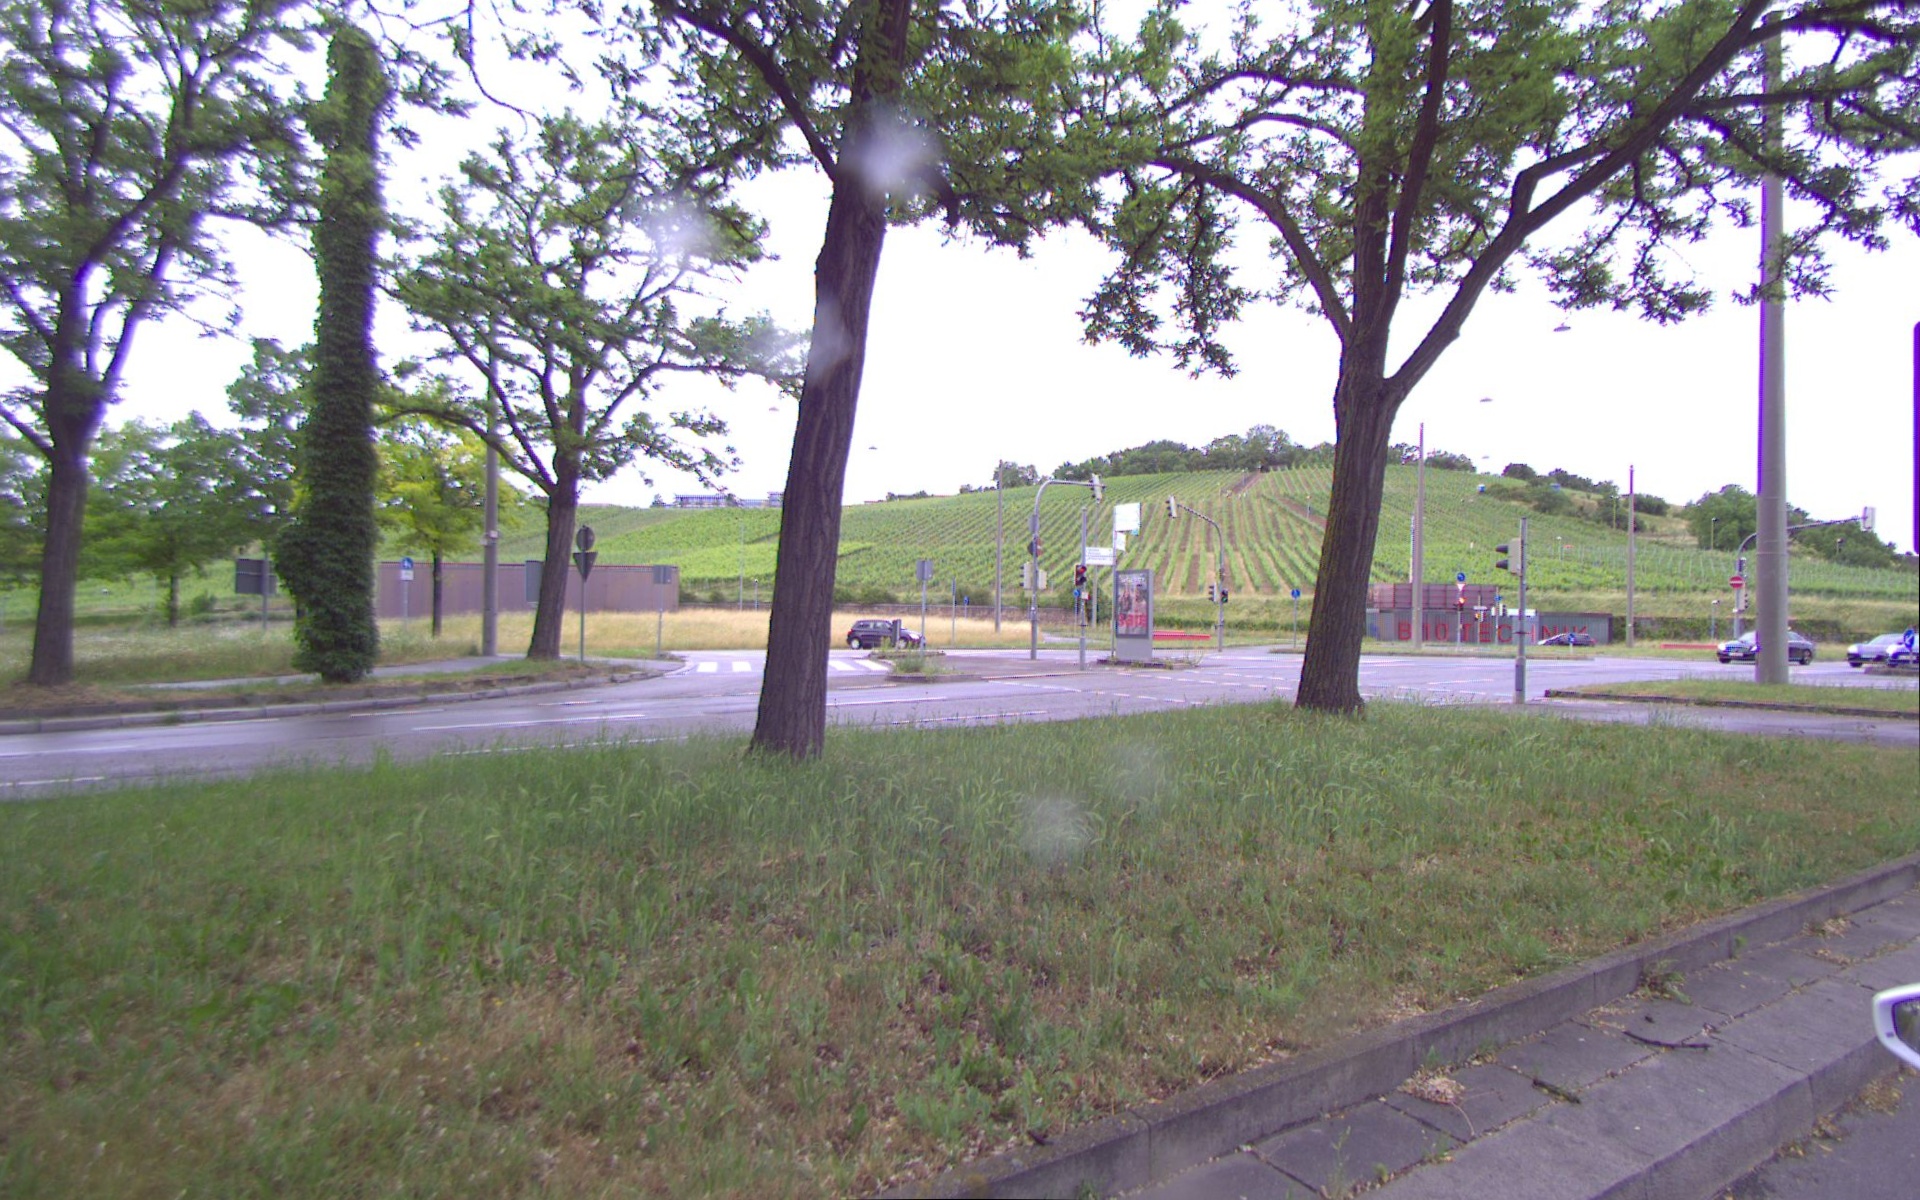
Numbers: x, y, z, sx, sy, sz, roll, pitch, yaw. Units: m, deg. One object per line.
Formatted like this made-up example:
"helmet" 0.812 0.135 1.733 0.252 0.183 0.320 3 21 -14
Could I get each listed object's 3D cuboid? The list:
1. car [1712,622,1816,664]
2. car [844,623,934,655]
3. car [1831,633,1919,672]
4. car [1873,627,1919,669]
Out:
"car" 34.533 1.848 43.127 4.509 1.645 1.822 2 1 -28
"car" -3.440 1.876 48.838 3.920 1.307 1.800 2 1 18
"car" 38.025 2.159 41.306 3.826 1.414 1.782 2 1 -23
"car" 35.594 1.806 36.788 3.829 1.414 1.781 3 0 -24
